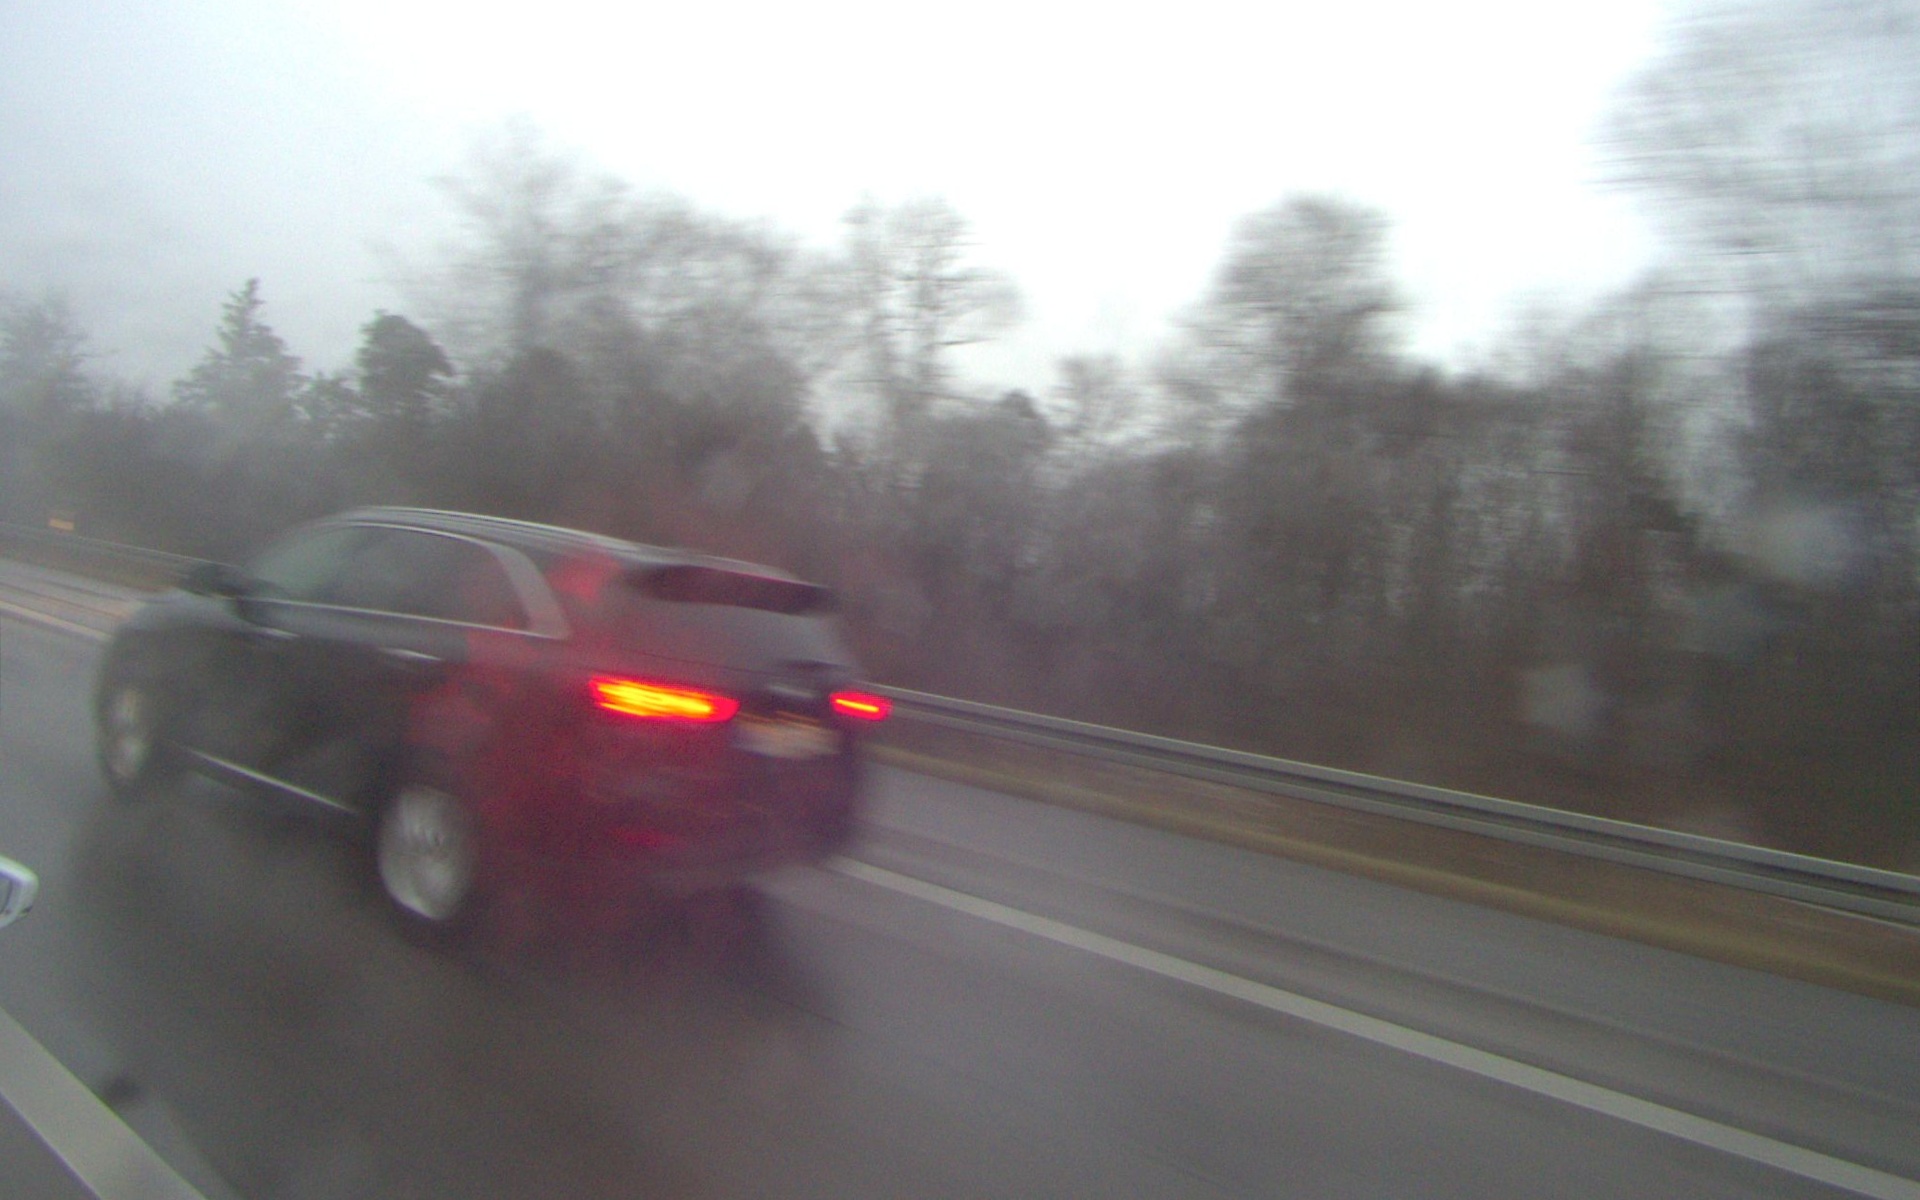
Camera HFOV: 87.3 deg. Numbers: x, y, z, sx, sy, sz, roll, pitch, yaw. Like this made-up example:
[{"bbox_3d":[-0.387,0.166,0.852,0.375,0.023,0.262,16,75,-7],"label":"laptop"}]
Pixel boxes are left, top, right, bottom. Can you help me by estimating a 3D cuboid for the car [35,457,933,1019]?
[{"bbox_3d":[-2.622,0.379,5.303,4.387,1.718,2.074,7,-1,31],"label":"car"}]
